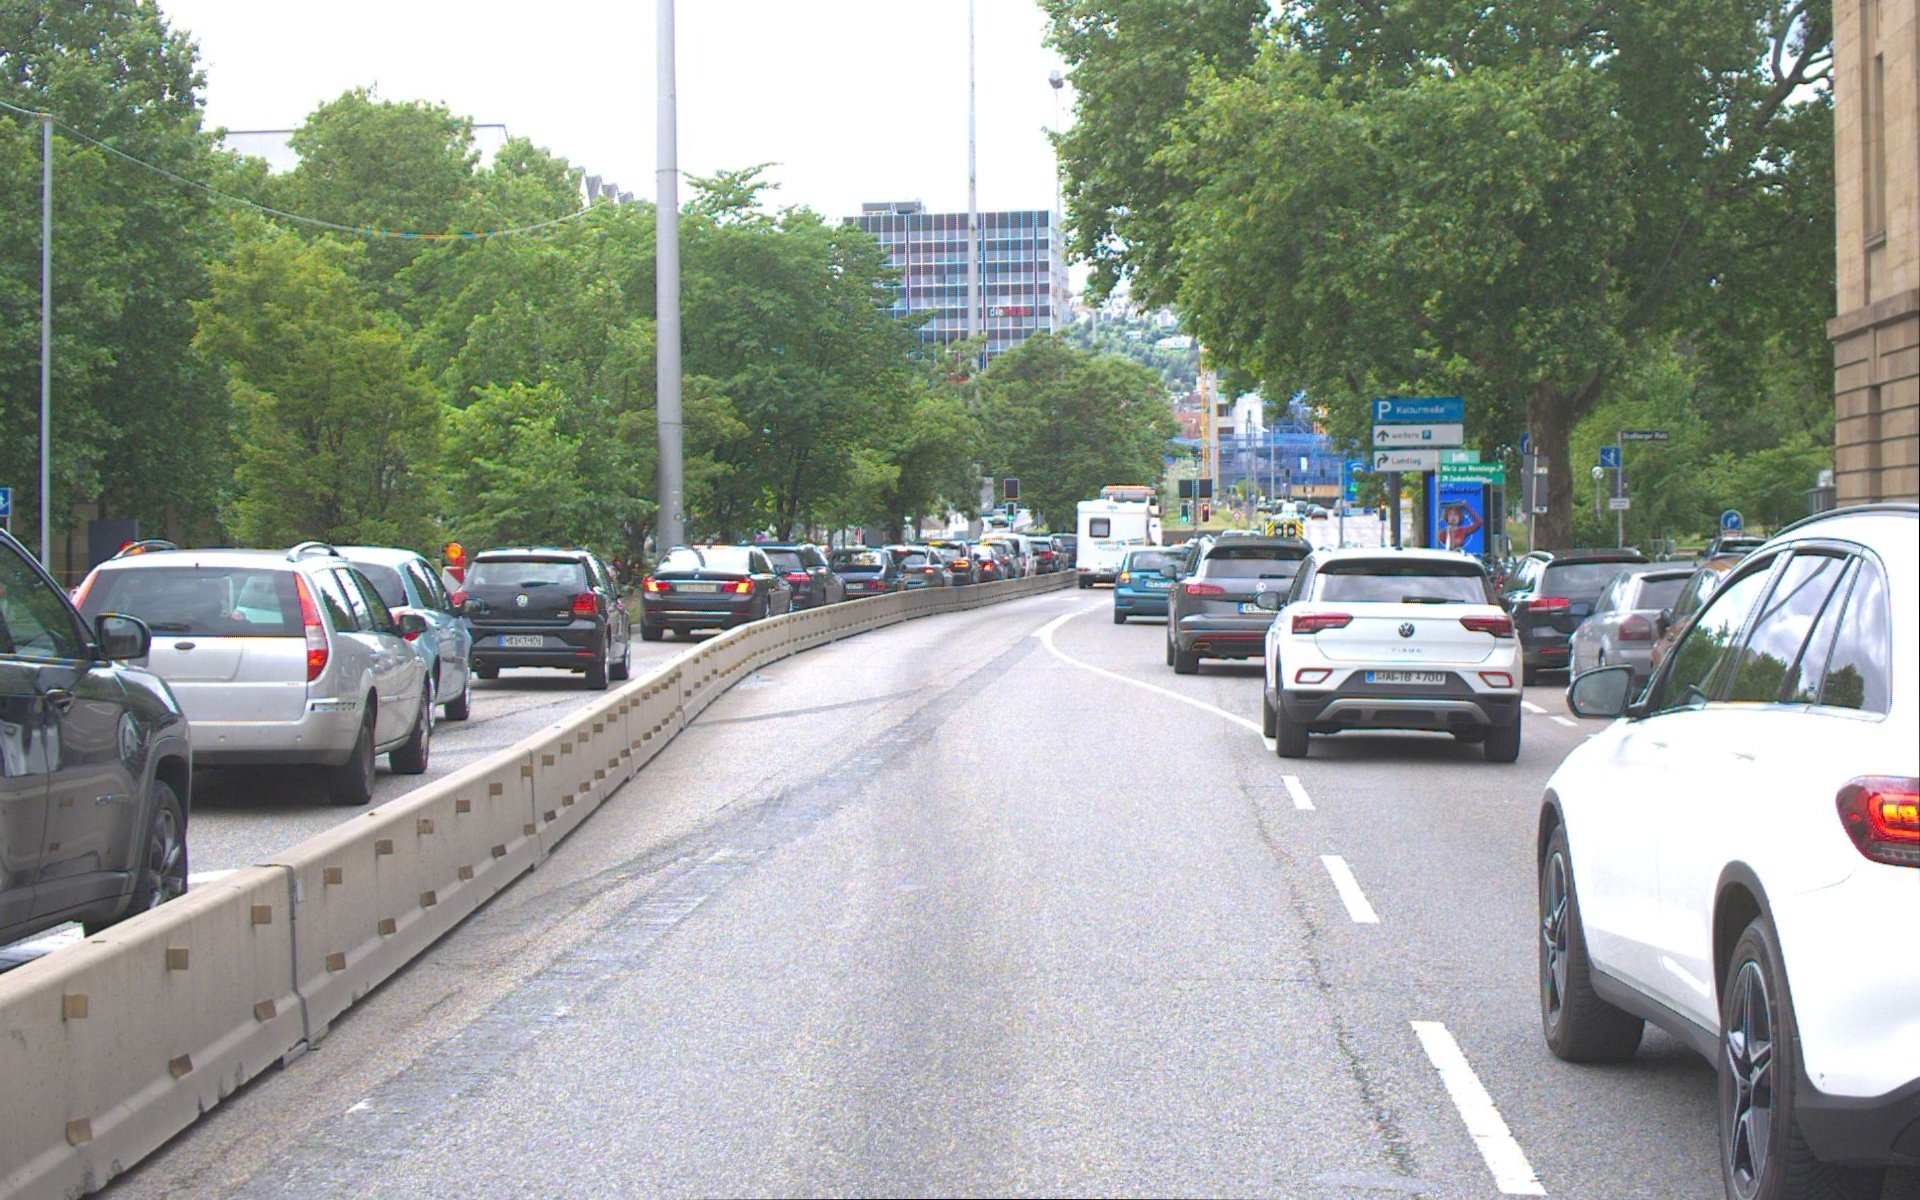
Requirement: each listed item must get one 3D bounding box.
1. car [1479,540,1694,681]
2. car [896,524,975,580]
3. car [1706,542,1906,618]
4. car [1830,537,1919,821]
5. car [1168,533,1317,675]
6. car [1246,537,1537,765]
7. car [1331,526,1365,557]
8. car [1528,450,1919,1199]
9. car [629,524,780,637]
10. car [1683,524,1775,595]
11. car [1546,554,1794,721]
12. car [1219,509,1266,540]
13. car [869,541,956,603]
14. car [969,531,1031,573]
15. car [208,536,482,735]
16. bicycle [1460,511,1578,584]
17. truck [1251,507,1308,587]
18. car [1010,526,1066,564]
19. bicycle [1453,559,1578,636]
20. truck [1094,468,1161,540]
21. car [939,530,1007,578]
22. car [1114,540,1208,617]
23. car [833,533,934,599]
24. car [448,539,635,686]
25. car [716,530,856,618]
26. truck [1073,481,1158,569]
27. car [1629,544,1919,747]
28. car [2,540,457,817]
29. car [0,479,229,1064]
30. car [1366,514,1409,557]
[{"bbox_3d":[6.998,0.080,38.769,1.788,1.481,4.325,1,1,3],"label":"car"},{"bbox_3d":[-0.616,-1.271,90.297,1.776,1.415,4.000,0,1,4],"label":"car"},{"bbox_3d":[17.609,-0.429,71.670,3.836,1.563,1.679,0,1,6],"label":"car"},{"bbox_3d":[6.064,0.407,19.253,1.546,1.546,3.708,-3,1,3],"label":"car"},{"bbox_3d":[3.393,0.014,41.768,1.659,1.633,3.547,1,1,3],"label":"car"},{"bbox_3d":[3.211,0.328,26.220,1.796,1.603,3.755,0,1,1],"label":"car"},{"bbox_3d":[20.890,-3.163,185.069,1.759,1.663,4.167,0,1,6],"label":"car"},{"bbox_3d":[2.617,0.523,8.610,1.788,1.619,4.437,2,1,3],"label":"car"},{"bbox_3d":[-3.864,-0.328,52.629,1.923,1.630,4.937,1,1,0],"label":"car"},{"bbox_3d":[18.763,-1.001,84.034,1.761,1.546,4.026,0,3,6],"label":"car"},{"bbox_3d":[6.571,0.304,32.166,1.708,1.421,3.996,-1,1,4],"label":"car"},{"bbox_3d":[12.513,-3.327,152.150,1.947,1.315,4.016,1,1,7],"label":"car"},{"bbox_3d":[-1.116,-0.666,81.919,1.661,1.431,3.960,1,1,5],"label":"car"},{"bbox_3d":[1.317,-1.578,112.301,1.659,1.315,3.546,1,1,7],"label":"car"},{"bbox_3d":[-4.963,0.241,28.174,1.672,1.501,3.855,1,1,-2],"label":"car"},{"bbox_3d":[8.615,-0.813,52.966,1.730,1.087,0.380,2,1,18],"label":"bicycle"},{"bbox_3d":[16.967,-2.844,182.464,2.878,4.089,6.637,1,1,6],"label":"truck"},{"bbox_3d":[2.818,-1.982,123.443,1.659,1.315,3.546,1,1,7],"label":"car"},{"bbox_3d":[7.949,-0.046,49.240,1.665,1.070,0.584,1,1,25],"label":"bicycle"},{"bbox_3d":[7.378,-4.190,151.116,2.692,2.981,5.637,2,1,4],"label":"truck"},{"bbox_3d":[0.385,-1.309,97.833,1.659,1.315,3.547,1,1,5],"label":"car"},{"bbox_3d":[3.846,-0.421,65.346,1.659,1.408,3.547,1,1,5],"label":"car"},{"bbox_3d":[-1.606,-0.754,73.928,1.678,1.362,4.542,0,1,5],"label":"car"},{"bbox_3d":[-4.387,0.090,36.516,1.659,1.449,4.198,1,1,-3],"label":"car"},{"bbox_3d":[-3.031,-0.484,60.701,1.816,1.494,4.768,0,1,5],"label":"car"},{"bbox_3d":[5.323,-2.560,116.790,2.621,2.851,7.078,1,1,5],"label":"truck"},{"bbox_3d":[6.321,0.301,27.022,1.616,1.450,3.858,-1,1,4],"label":"car"},{"bbox_3d":[-4.292,0.388,20.934,1.878,1.476,4.705,1,1,-2],"label":"car"},{"bbox_3d":[-3.529,0.453,10.366,1.776,1.615,4.046,1,1,0],"label":"car"},{"bbox_3d":[20.425,-3.091,164.416,1.994,2.007,3.999,1,1,7],"label":"car"}]
